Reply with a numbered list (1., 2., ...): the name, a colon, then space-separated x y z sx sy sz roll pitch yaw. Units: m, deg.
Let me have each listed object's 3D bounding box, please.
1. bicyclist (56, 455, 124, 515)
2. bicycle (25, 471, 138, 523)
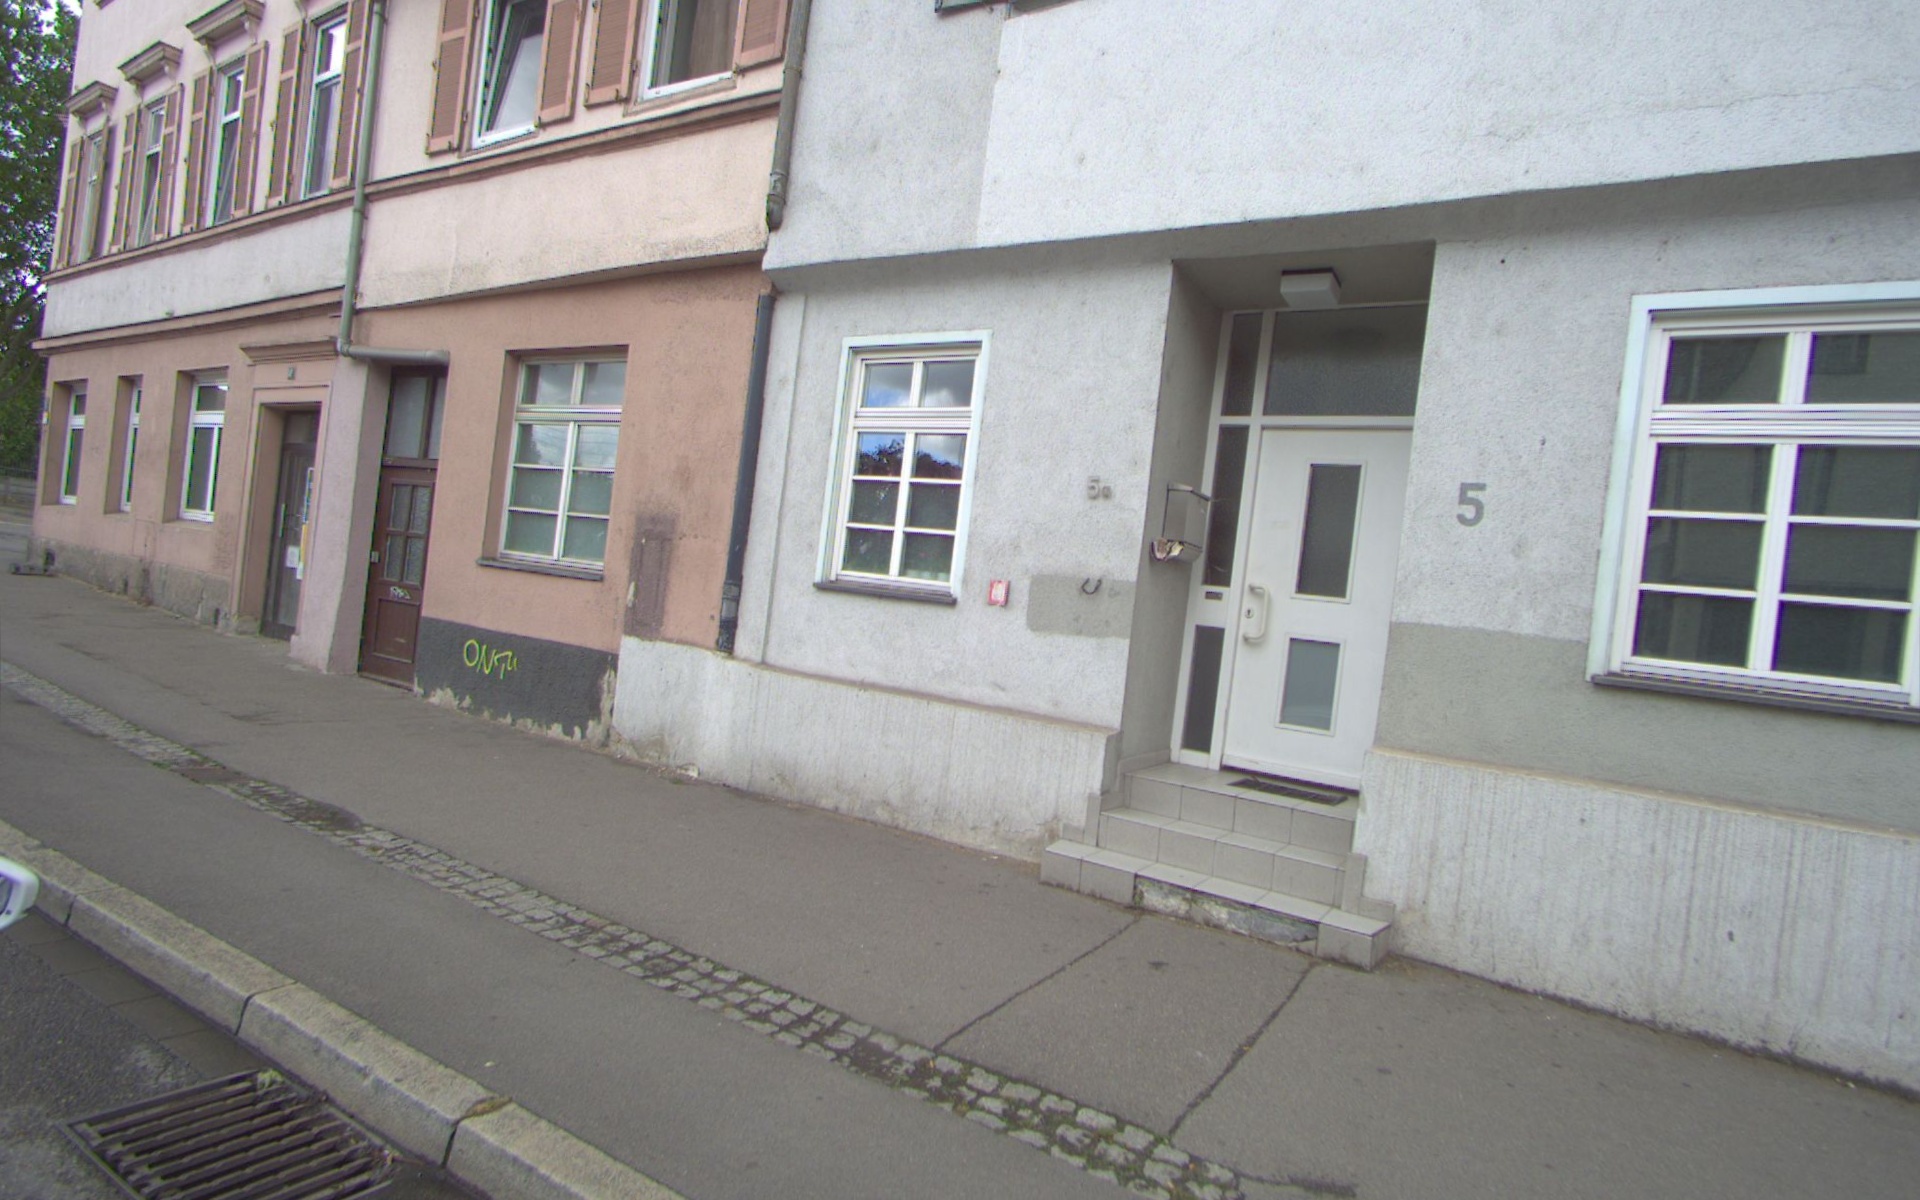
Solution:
1. bicyclist: -36.537 -4.811 42.275 1.224 2.182 1.569 7 0 18
2. bicycle: -36.665 -4.267 42.067 1.443 1.588 3.156 7 -1 18
